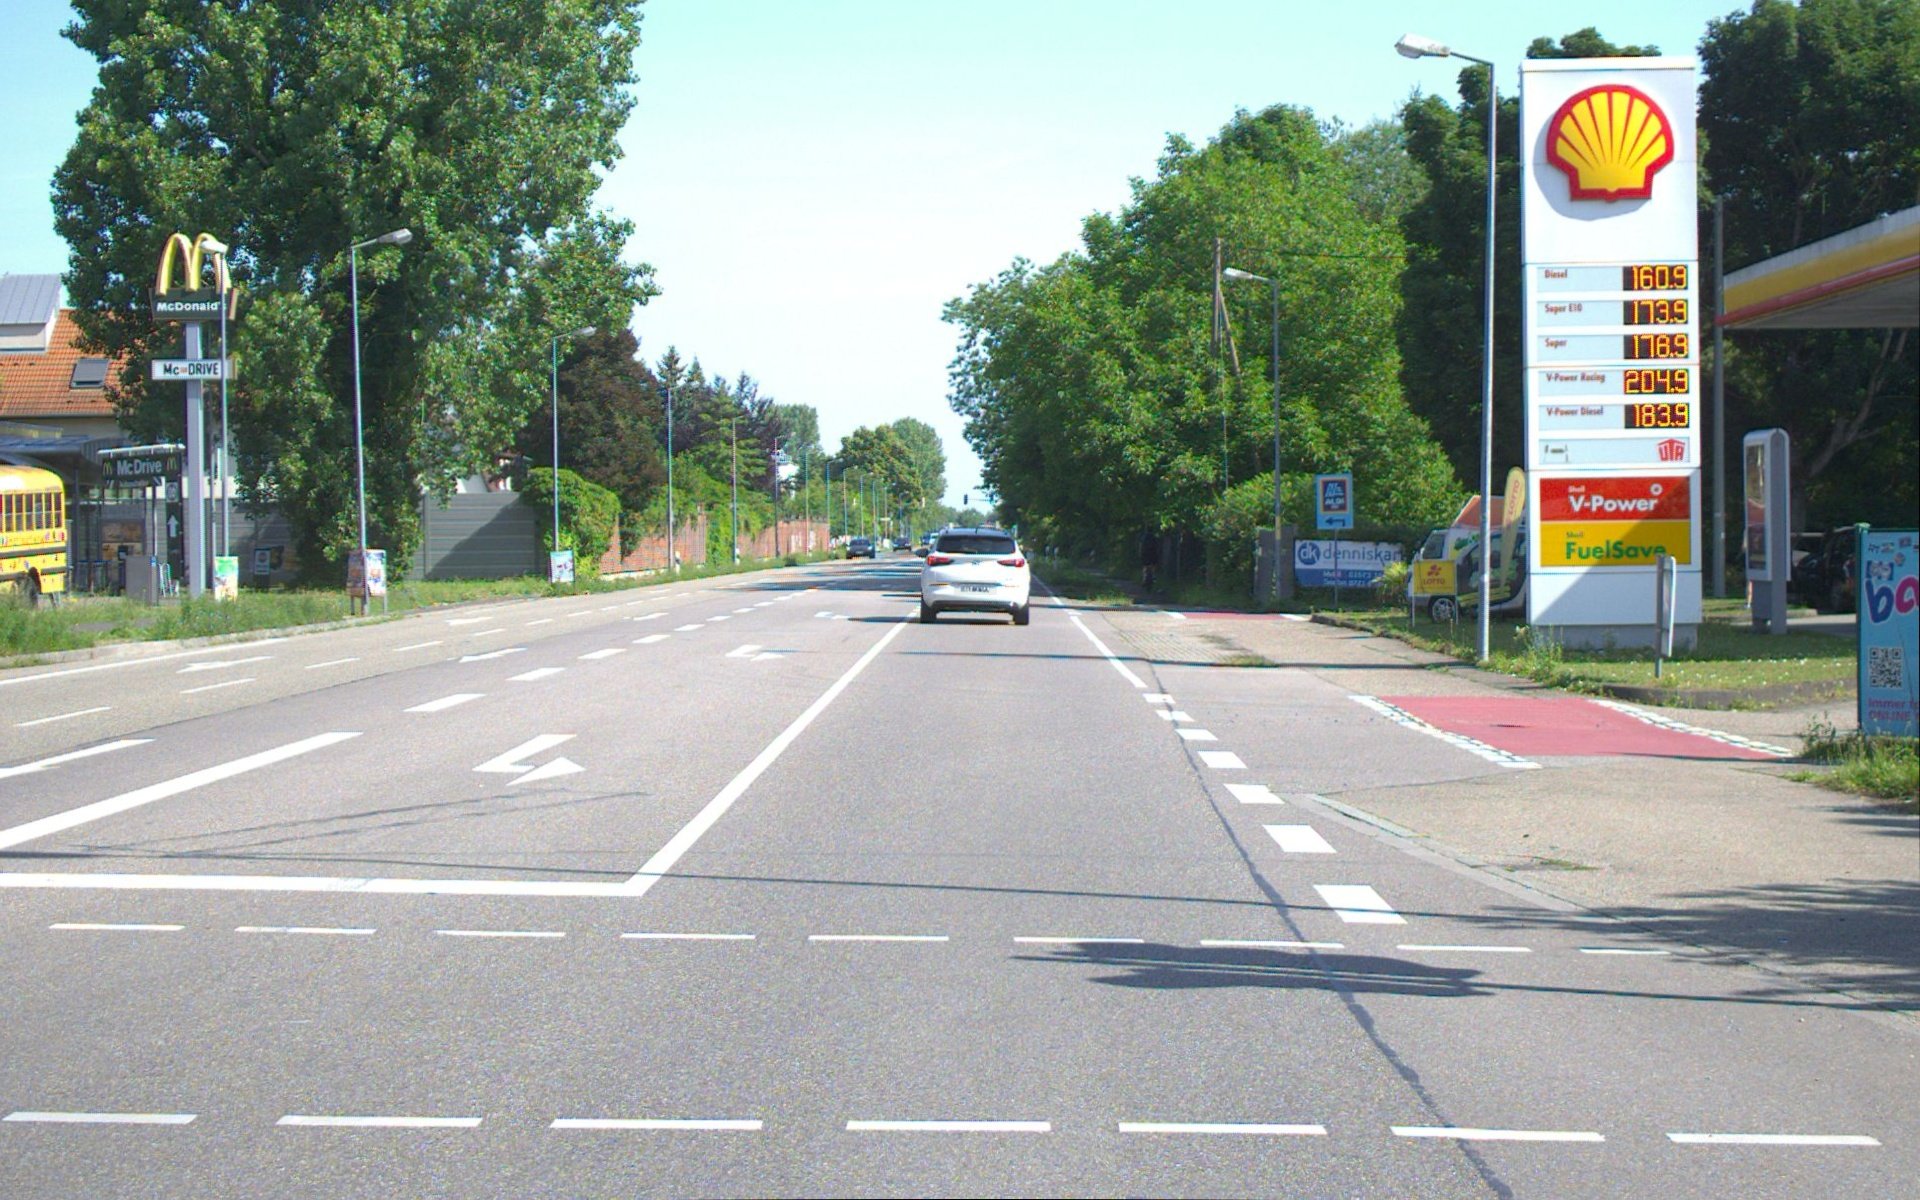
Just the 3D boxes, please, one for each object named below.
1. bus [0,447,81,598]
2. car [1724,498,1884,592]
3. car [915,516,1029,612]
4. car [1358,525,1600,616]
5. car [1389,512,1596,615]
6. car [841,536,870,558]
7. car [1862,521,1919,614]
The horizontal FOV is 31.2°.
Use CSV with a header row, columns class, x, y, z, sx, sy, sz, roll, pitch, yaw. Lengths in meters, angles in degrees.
class,x,y,z,sx,sy,sz,roll,pitch,yaw
bus,-18.352,-1.428,62.498,2.579,2.670,8.998,1,1,-1
car,16.530,-1.075,67.521,1.993,1.759,4.000,1,1,-2
car,0.227,-0.621,58.856,1.847,1.536,4.224,1,1,1
car,9.287,-0.528,61.624,3.986,1.525,1.586,1,1,-6
car,8.179,-0.562,52.908,1.573,1.525,2.729,1,0,-45
car,-7.492,-3.784,246.376,1.847,1.491,4.911,-2,1,1
car,14.946,-0.525,52.039,1.798,1.356,3.848,-1,1,4
